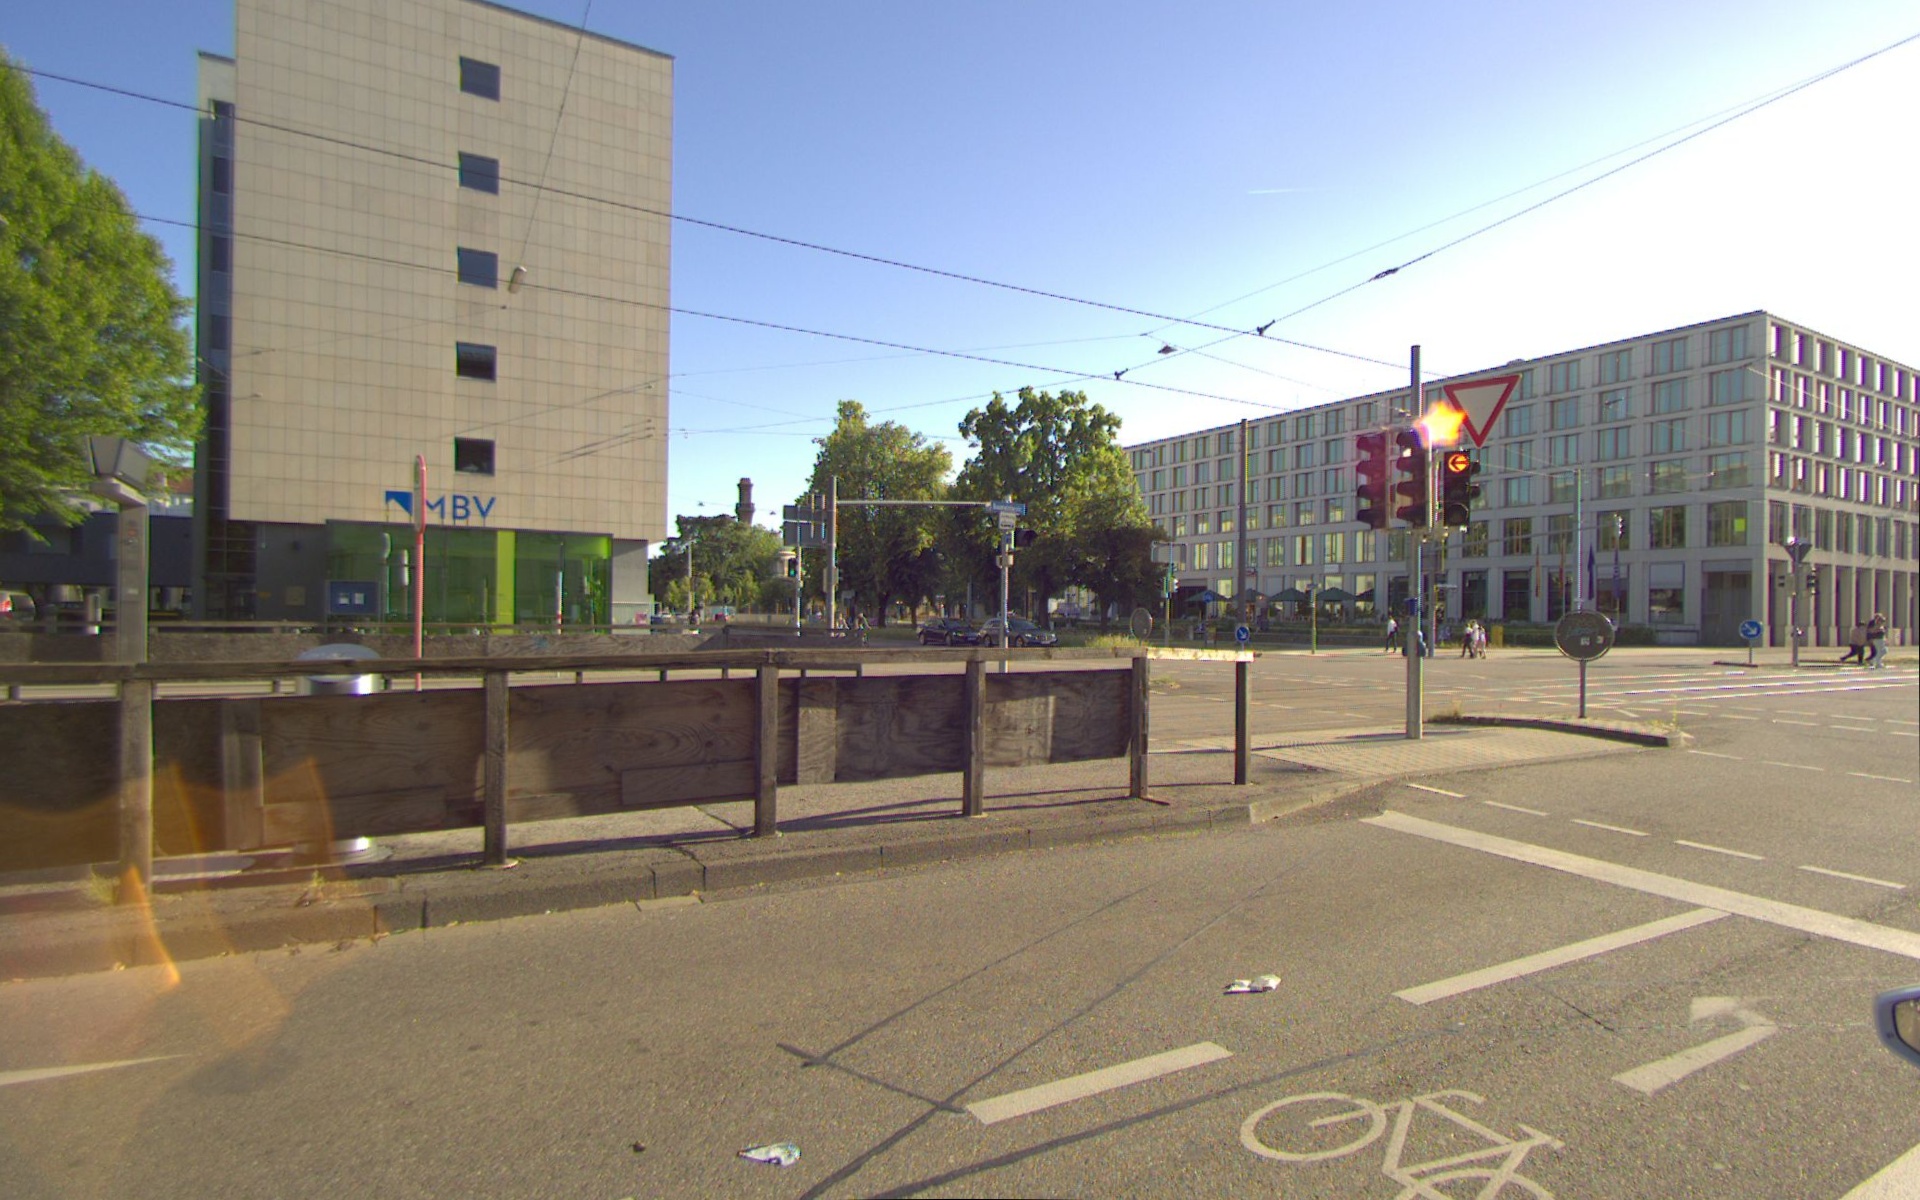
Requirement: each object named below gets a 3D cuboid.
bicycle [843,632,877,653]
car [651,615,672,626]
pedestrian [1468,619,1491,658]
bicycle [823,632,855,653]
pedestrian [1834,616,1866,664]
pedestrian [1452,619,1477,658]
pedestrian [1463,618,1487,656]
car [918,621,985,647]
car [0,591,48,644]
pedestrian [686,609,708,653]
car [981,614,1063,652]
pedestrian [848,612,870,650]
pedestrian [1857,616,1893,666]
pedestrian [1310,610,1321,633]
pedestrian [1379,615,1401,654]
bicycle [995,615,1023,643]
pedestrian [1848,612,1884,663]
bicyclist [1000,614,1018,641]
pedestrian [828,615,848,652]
[{"bbox_3d":[-4.843,2.024,48.408,0.818,0.973,2.132,1,-1,-31],"label":"bicycle"},{"bbox_3d":[-40.037,2.761,134.725,1.614,1.452,4.021,3,-2,-31],"label":"car"},{"bbox_3d":[24.971,1.837,48.287,0.525,1.827,0.867,1,-1,-24],"label":"pedestrian"},{"bbox_3d":[-5.771,2.017,47.767,0.669,0.973,2.131,1,-1,-32],"label":"bicycle"},{"bbox_3d":[31.617,1.412,35.697,0.614,1.666,0.691,1,-1,-29],"label":"pedestrian"},{"bbox_3d":[24.137,1.837,48.081,0.654,1.827,0.868,1,-1,-24],"label":"pedestrian"},{"bbox_3d":[25.119,1.798,48.993,0.706,1.827,0.737,1,-1,-24],"label":"pedestrian"},{"bbox_3d":[-0.478,1.792,53.407,1.755,1.311,4.209,1,-1,-30],"label":"car"},{"bbox_3d":[-27.756,0.448,27.782,3.371,1.431,1.562,2,0,-20],"label":"car"},{"bbox_3d":[-10.724,1.263,40.972,0.814,1.739,0.757,1,-1,-18],"label":"pedestrian"},{"bbox_3d":[2.868,1.529,47.765,1.829,1.602,4.496,1,1,-28],"label":"car"},{"bbox_3d":[-4.893,1.495,48.506,0.818,1.829,0.754,1,-1,-31],"label":"pedestrian"},{"bbox_3d":[31.367,1.398,34.431,0.615,1.666,0.787,1,-1,-34],"label":"pedestrian"},{"bbox_3d":[26.844,1.650,75.901,0.556,1.691,0.537,2,0,-33],"label":"pedestrian"},{"bbox_3d":[22.030,1.761,51.471,0.628,1.943,0.800,1,-1,-24],"label":"pedestrian"},{"bbox_3d":[3.110,1.830,63.920,0.592,1.758,1.881,1,-1,-41],"label":"bicycle"},{"bbox_3d":[32.259,1.341,35.756,0.668,1.784,0.746,2,-2,-25],"label":"pedestrian"},{"bbox_3d":[3.129,1.740,63.892,0.592,1.662,1.065,1,-1,-41],"label":"bicyclist"},{"bbox_3d":[-5.794,1.606,47.831,0.666,1.739,0.754,1,-1,-32],"label":"pedestrian"}]
